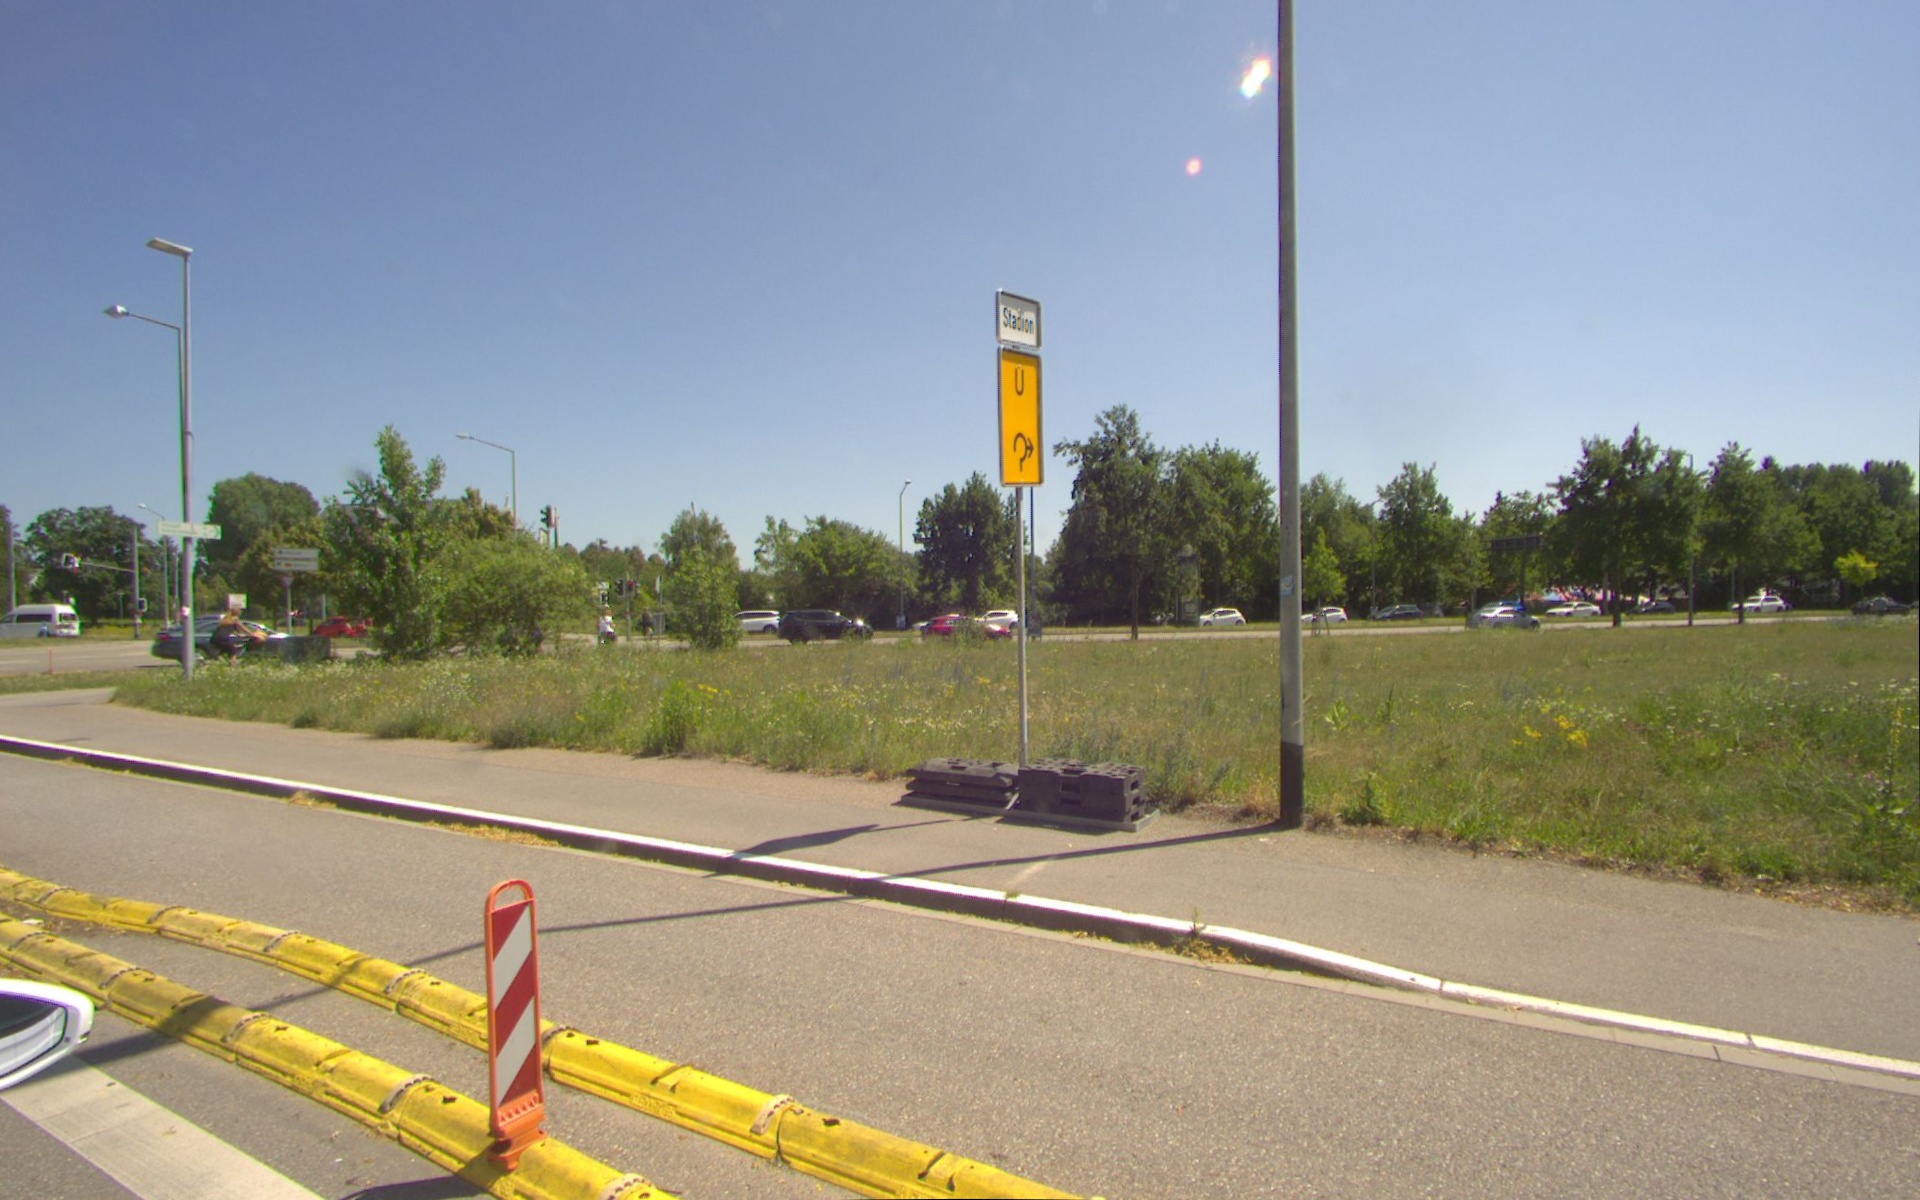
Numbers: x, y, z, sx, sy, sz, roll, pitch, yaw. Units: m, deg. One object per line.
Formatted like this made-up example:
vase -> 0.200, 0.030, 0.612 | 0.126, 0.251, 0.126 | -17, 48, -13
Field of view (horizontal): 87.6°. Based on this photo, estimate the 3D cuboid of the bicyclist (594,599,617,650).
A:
bicyclist -> -13.152, 0.903, 37.161 | 0.597, 1.864, 0.572 | 0, -1, 2

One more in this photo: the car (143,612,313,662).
car -> -24.233, 1.224, 33.288 | 1.708, 1.571, 4.309 | -2, -2, 41

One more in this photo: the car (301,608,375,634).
car -> -41.636, 1.449, 67.045 | 4.269, 1.675, 1.899 | -1, -2, 18

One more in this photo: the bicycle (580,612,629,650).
bicycle -> -13.190, 1.161, 37.239 | 0.628, 1.370, 2.896 | 0, -2, 4

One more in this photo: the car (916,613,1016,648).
car -> 0.246, 1.433, 46.964 | 4.340, 1.546, 1.998 | 0, -2, -15

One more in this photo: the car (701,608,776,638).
car -> -13.380, 1.380, 60.417 | 4.365, 1.758, 1.846 | 0, -2, -16

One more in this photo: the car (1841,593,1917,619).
car -> 67.276, 0.465, 73.288 | 5.241, 1.758, 1.995 | 1, -2, -21

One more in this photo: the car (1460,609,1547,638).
car -> 30.540, 1.321, 56.284 | 4.344, 1.547, 1.995 | 0, 0, -20

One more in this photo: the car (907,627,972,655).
car -> -1.399, 2.704, 67.042 | 4.074, 1.840, 1.662 | 0, -2, -15

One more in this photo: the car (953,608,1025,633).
car -> 1.895, 1.334, 65.259 | 4.365, 1.612, 1.846 | 0, -2, -16

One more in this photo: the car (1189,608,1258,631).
car -> 18.424, 1.385, 70.071 | 4.365, 1.612, 1.846 | 0, -2, -16

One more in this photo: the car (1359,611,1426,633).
car -> 31.954, 1.634, 74.064 | 4.365, 1.612, 1.846 | 0, -2, -16

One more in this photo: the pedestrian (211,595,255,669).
pedestrian -> -17.103, 0.756, 23.562 | 0.569, 1.713, 0.729 | -1, -2, 42

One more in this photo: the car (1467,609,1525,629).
car -> 43.172, 1.528, 80.635 | 3.927, 1.558, 1.764 | 0, -2, -14

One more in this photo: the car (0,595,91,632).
car -> -62.023, 0.931, 67.473 | 5.224, 2.427, 1.995 | 0, -1, 0

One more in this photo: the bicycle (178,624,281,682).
bicycle -> -17.128, 1.215, 23.514 | 0.607, 1.247, 1.832 | -1, 0, 42

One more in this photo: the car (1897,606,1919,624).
car -> 90.619, 1.413, 94.065 | 4.365, 1.612, 1.846 | 0, -2, -16

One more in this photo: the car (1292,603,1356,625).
car -> 27.632, 1.080, 76.097 | 4.365, 1.613, 1.845 | 0, 0, -16

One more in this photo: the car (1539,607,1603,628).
car -> 47.978, 1.387, 78.626 | 4.365, 1.612, 1.846 | 0, -2, -16

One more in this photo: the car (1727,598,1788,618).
car -> 66.705, 0.710, 83.758 | 4.366, 1.612, 1.846 | 0, -2, -17

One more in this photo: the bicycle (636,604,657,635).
bicycle -> -16.752, 1.055, 53.558 | 0.967, 1.617, 2.879 | 0, -2, -16

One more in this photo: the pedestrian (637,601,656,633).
pedestrian -> -16.708, 0.920, 53.420 | 0.954, 1.681, 0.885 | 0, -1, -16

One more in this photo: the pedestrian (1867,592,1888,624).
pedestrian -> 47.871, 0.427, 52.260 | 0.548, 1.611, 0.662 | 1, -1, -32

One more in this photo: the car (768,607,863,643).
car -> -6.930, 1.179, 47.881 | 4.339, 1.616, 1.997 | 0, 0, -14
